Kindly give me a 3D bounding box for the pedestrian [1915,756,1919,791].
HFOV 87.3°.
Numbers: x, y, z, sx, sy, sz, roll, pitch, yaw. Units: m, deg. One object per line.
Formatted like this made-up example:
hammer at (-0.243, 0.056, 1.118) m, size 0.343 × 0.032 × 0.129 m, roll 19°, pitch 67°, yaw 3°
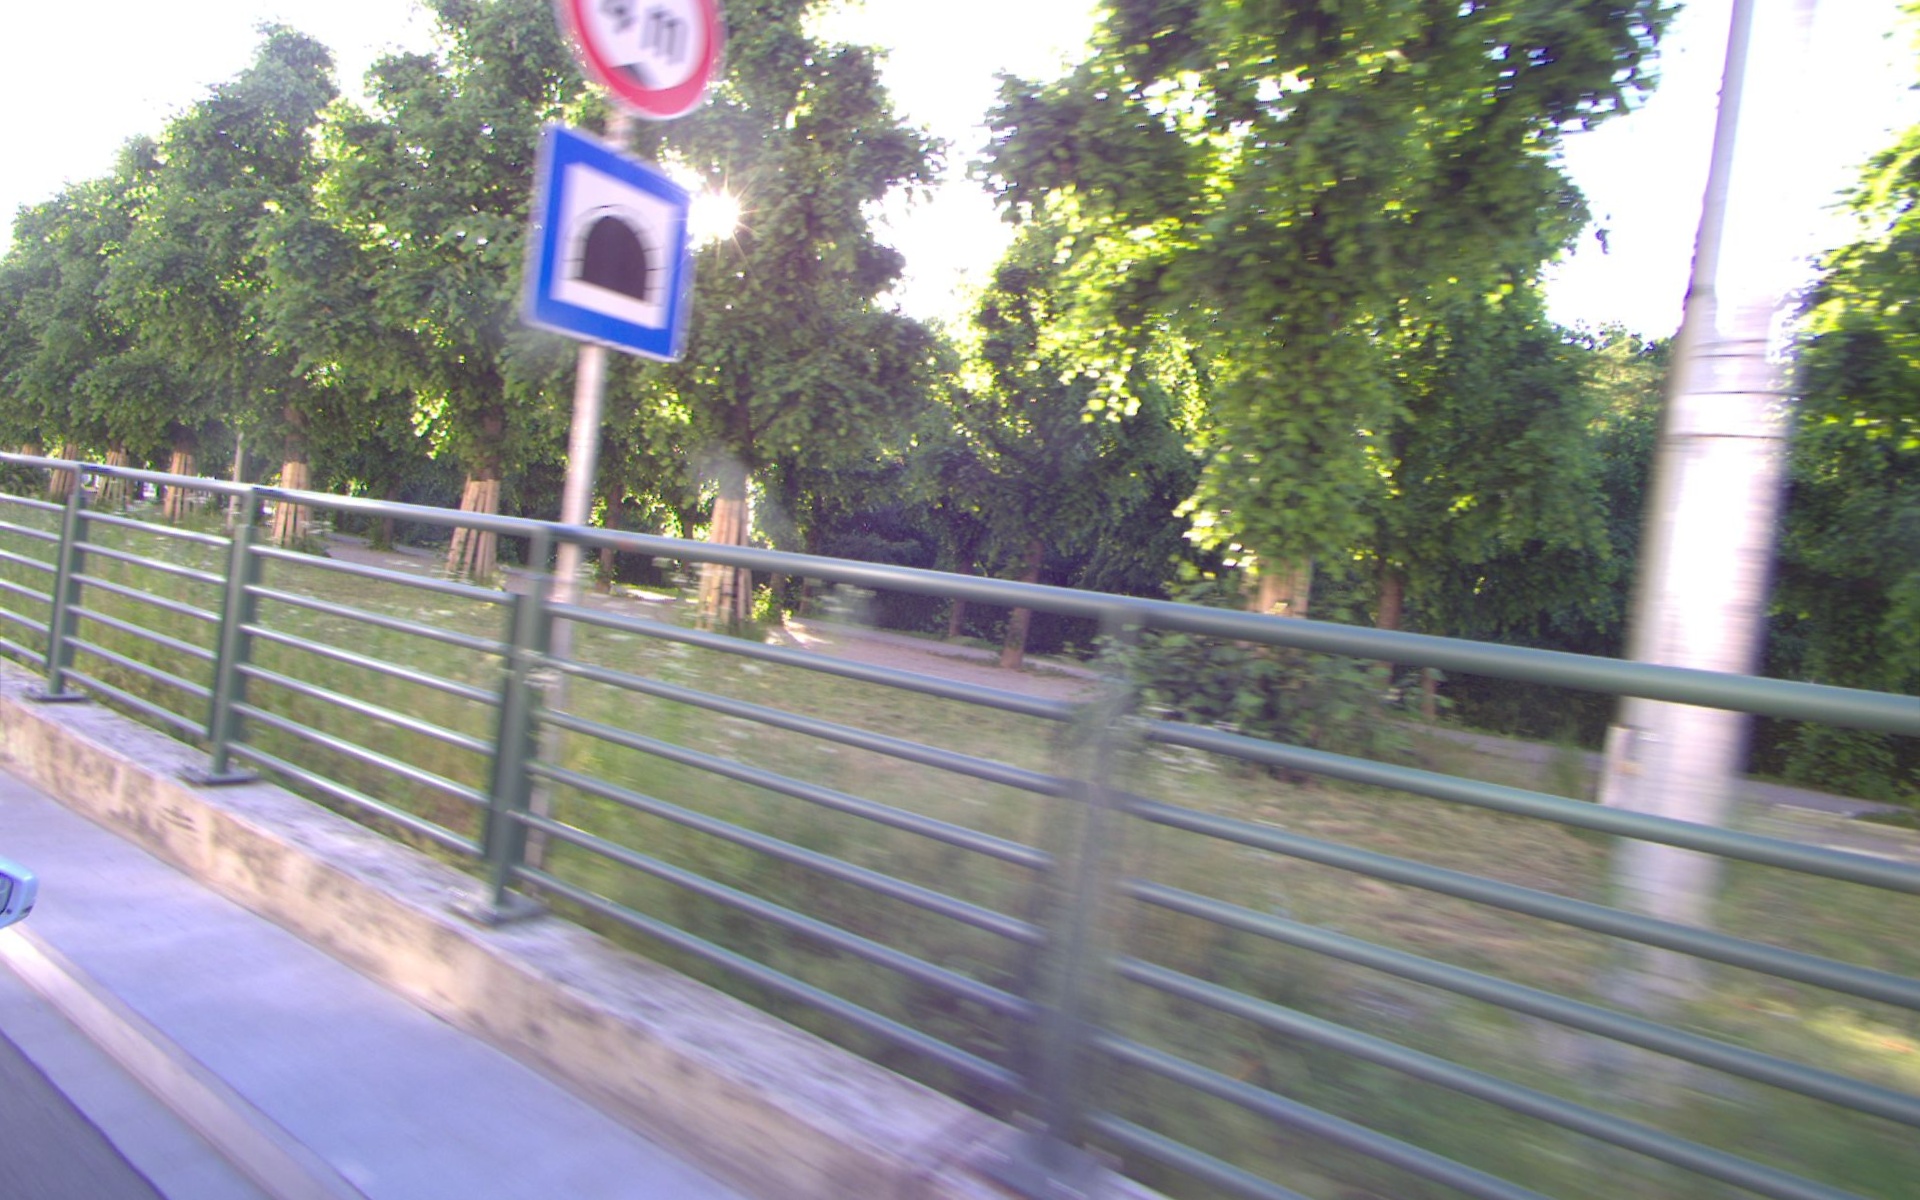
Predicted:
pedestrian at (23.018, 3.648, 23.623) m, size 0.559 × 1.785 × 0.621 m, roll 8°, pitch 2°, yaw 33°
